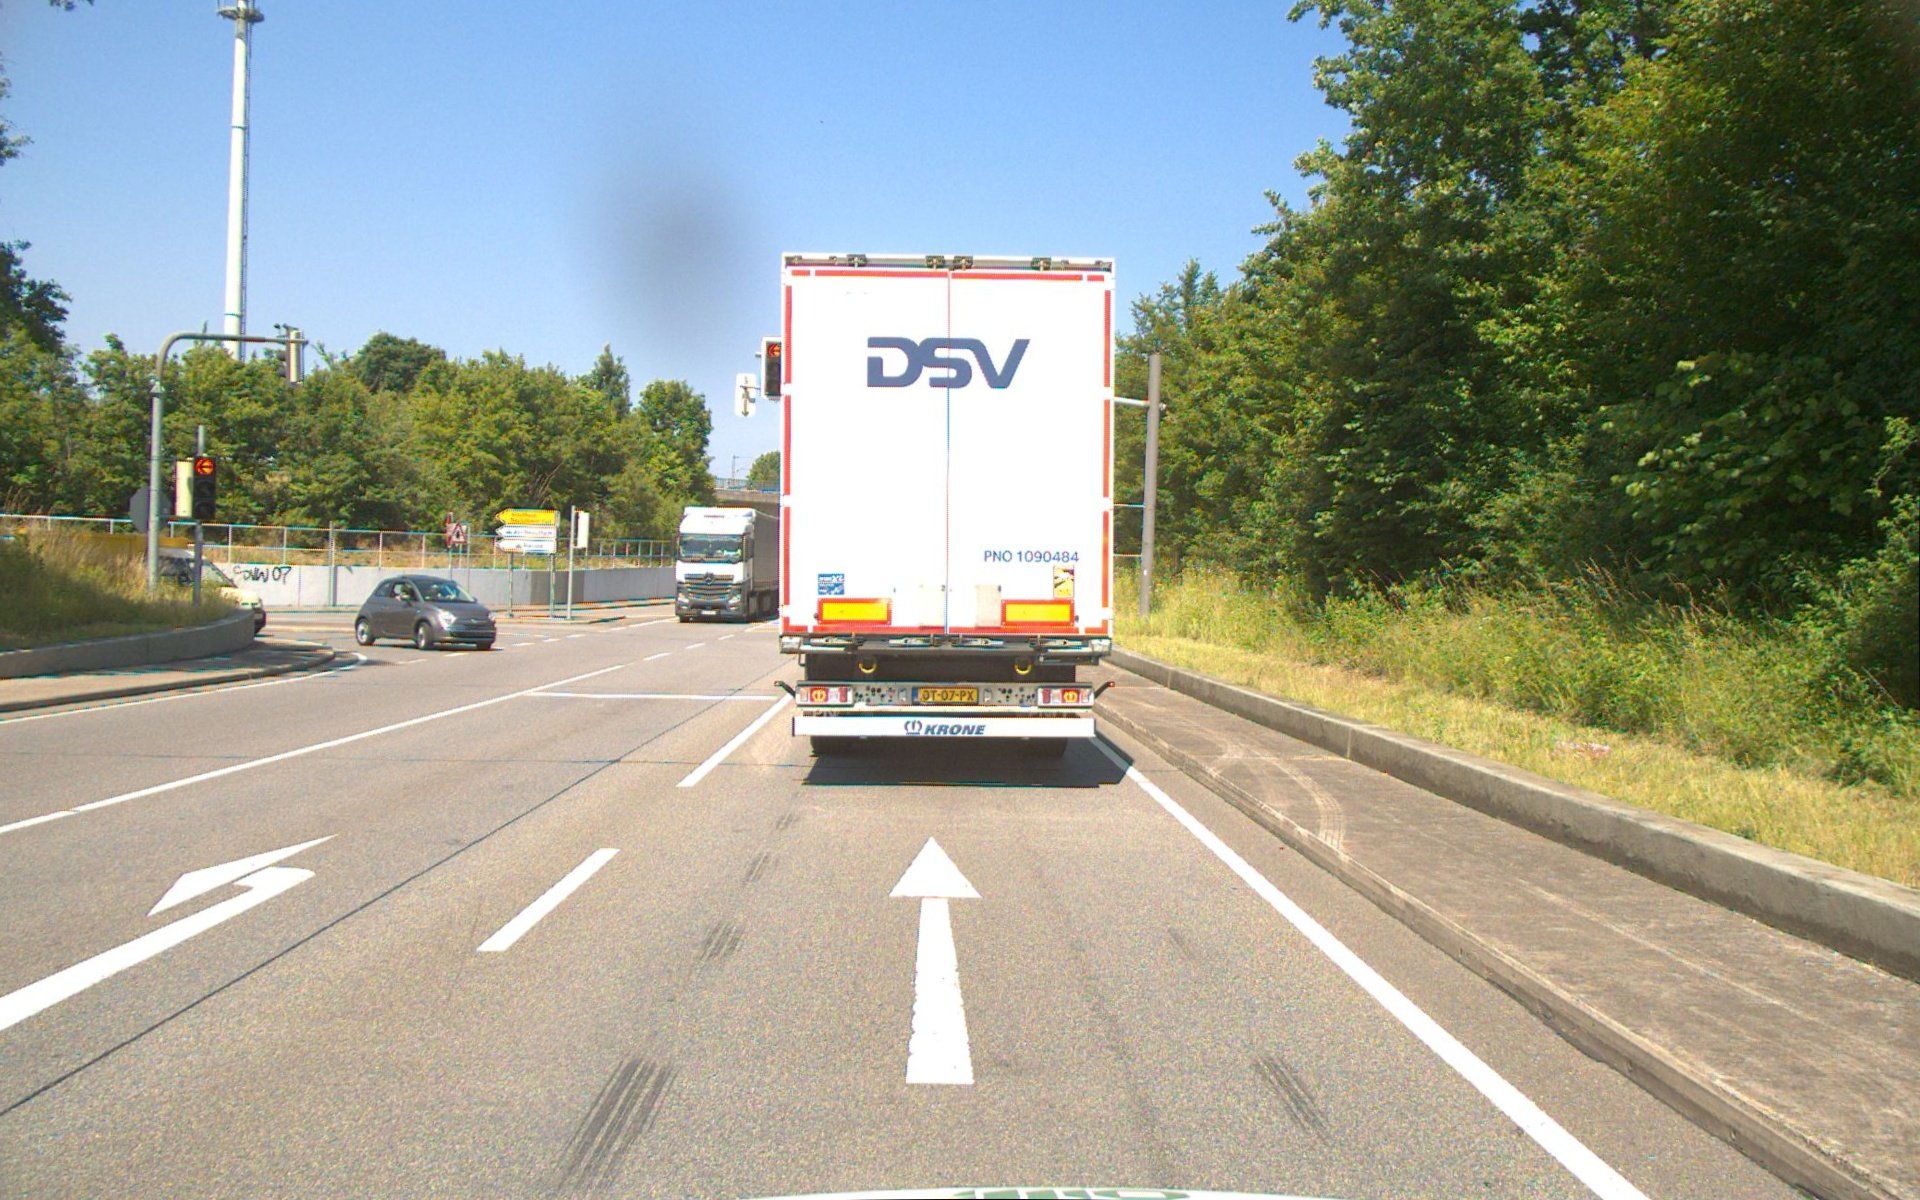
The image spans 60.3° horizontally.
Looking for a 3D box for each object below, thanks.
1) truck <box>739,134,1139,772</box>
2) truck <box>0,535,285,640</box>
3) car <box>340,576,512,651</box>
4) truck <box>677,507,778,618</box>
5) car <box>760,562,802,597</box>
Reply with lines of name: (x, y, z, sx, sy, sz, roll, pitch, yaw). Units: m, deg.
truck: (-0.301, -1.117, 17.108, 2.890, 4.648, 9.859, 1, 0, -2)
truck: (-19.092, -0.304, 38.704, 5.877, 2.314, 1.986, 1, 1, 8)
car: (-11.325, 0.254, 35.013, 3.524, 1.495, 1.588, 1, 1, 33)
truck: (-8.702, -1.407, 63.319, 2.305, 3.815, 12.623, 1, 1, -1)
car: (-8.701, -1.029, 80.481, 1.711, 1.654, 3.702, 1, 1, -1)
